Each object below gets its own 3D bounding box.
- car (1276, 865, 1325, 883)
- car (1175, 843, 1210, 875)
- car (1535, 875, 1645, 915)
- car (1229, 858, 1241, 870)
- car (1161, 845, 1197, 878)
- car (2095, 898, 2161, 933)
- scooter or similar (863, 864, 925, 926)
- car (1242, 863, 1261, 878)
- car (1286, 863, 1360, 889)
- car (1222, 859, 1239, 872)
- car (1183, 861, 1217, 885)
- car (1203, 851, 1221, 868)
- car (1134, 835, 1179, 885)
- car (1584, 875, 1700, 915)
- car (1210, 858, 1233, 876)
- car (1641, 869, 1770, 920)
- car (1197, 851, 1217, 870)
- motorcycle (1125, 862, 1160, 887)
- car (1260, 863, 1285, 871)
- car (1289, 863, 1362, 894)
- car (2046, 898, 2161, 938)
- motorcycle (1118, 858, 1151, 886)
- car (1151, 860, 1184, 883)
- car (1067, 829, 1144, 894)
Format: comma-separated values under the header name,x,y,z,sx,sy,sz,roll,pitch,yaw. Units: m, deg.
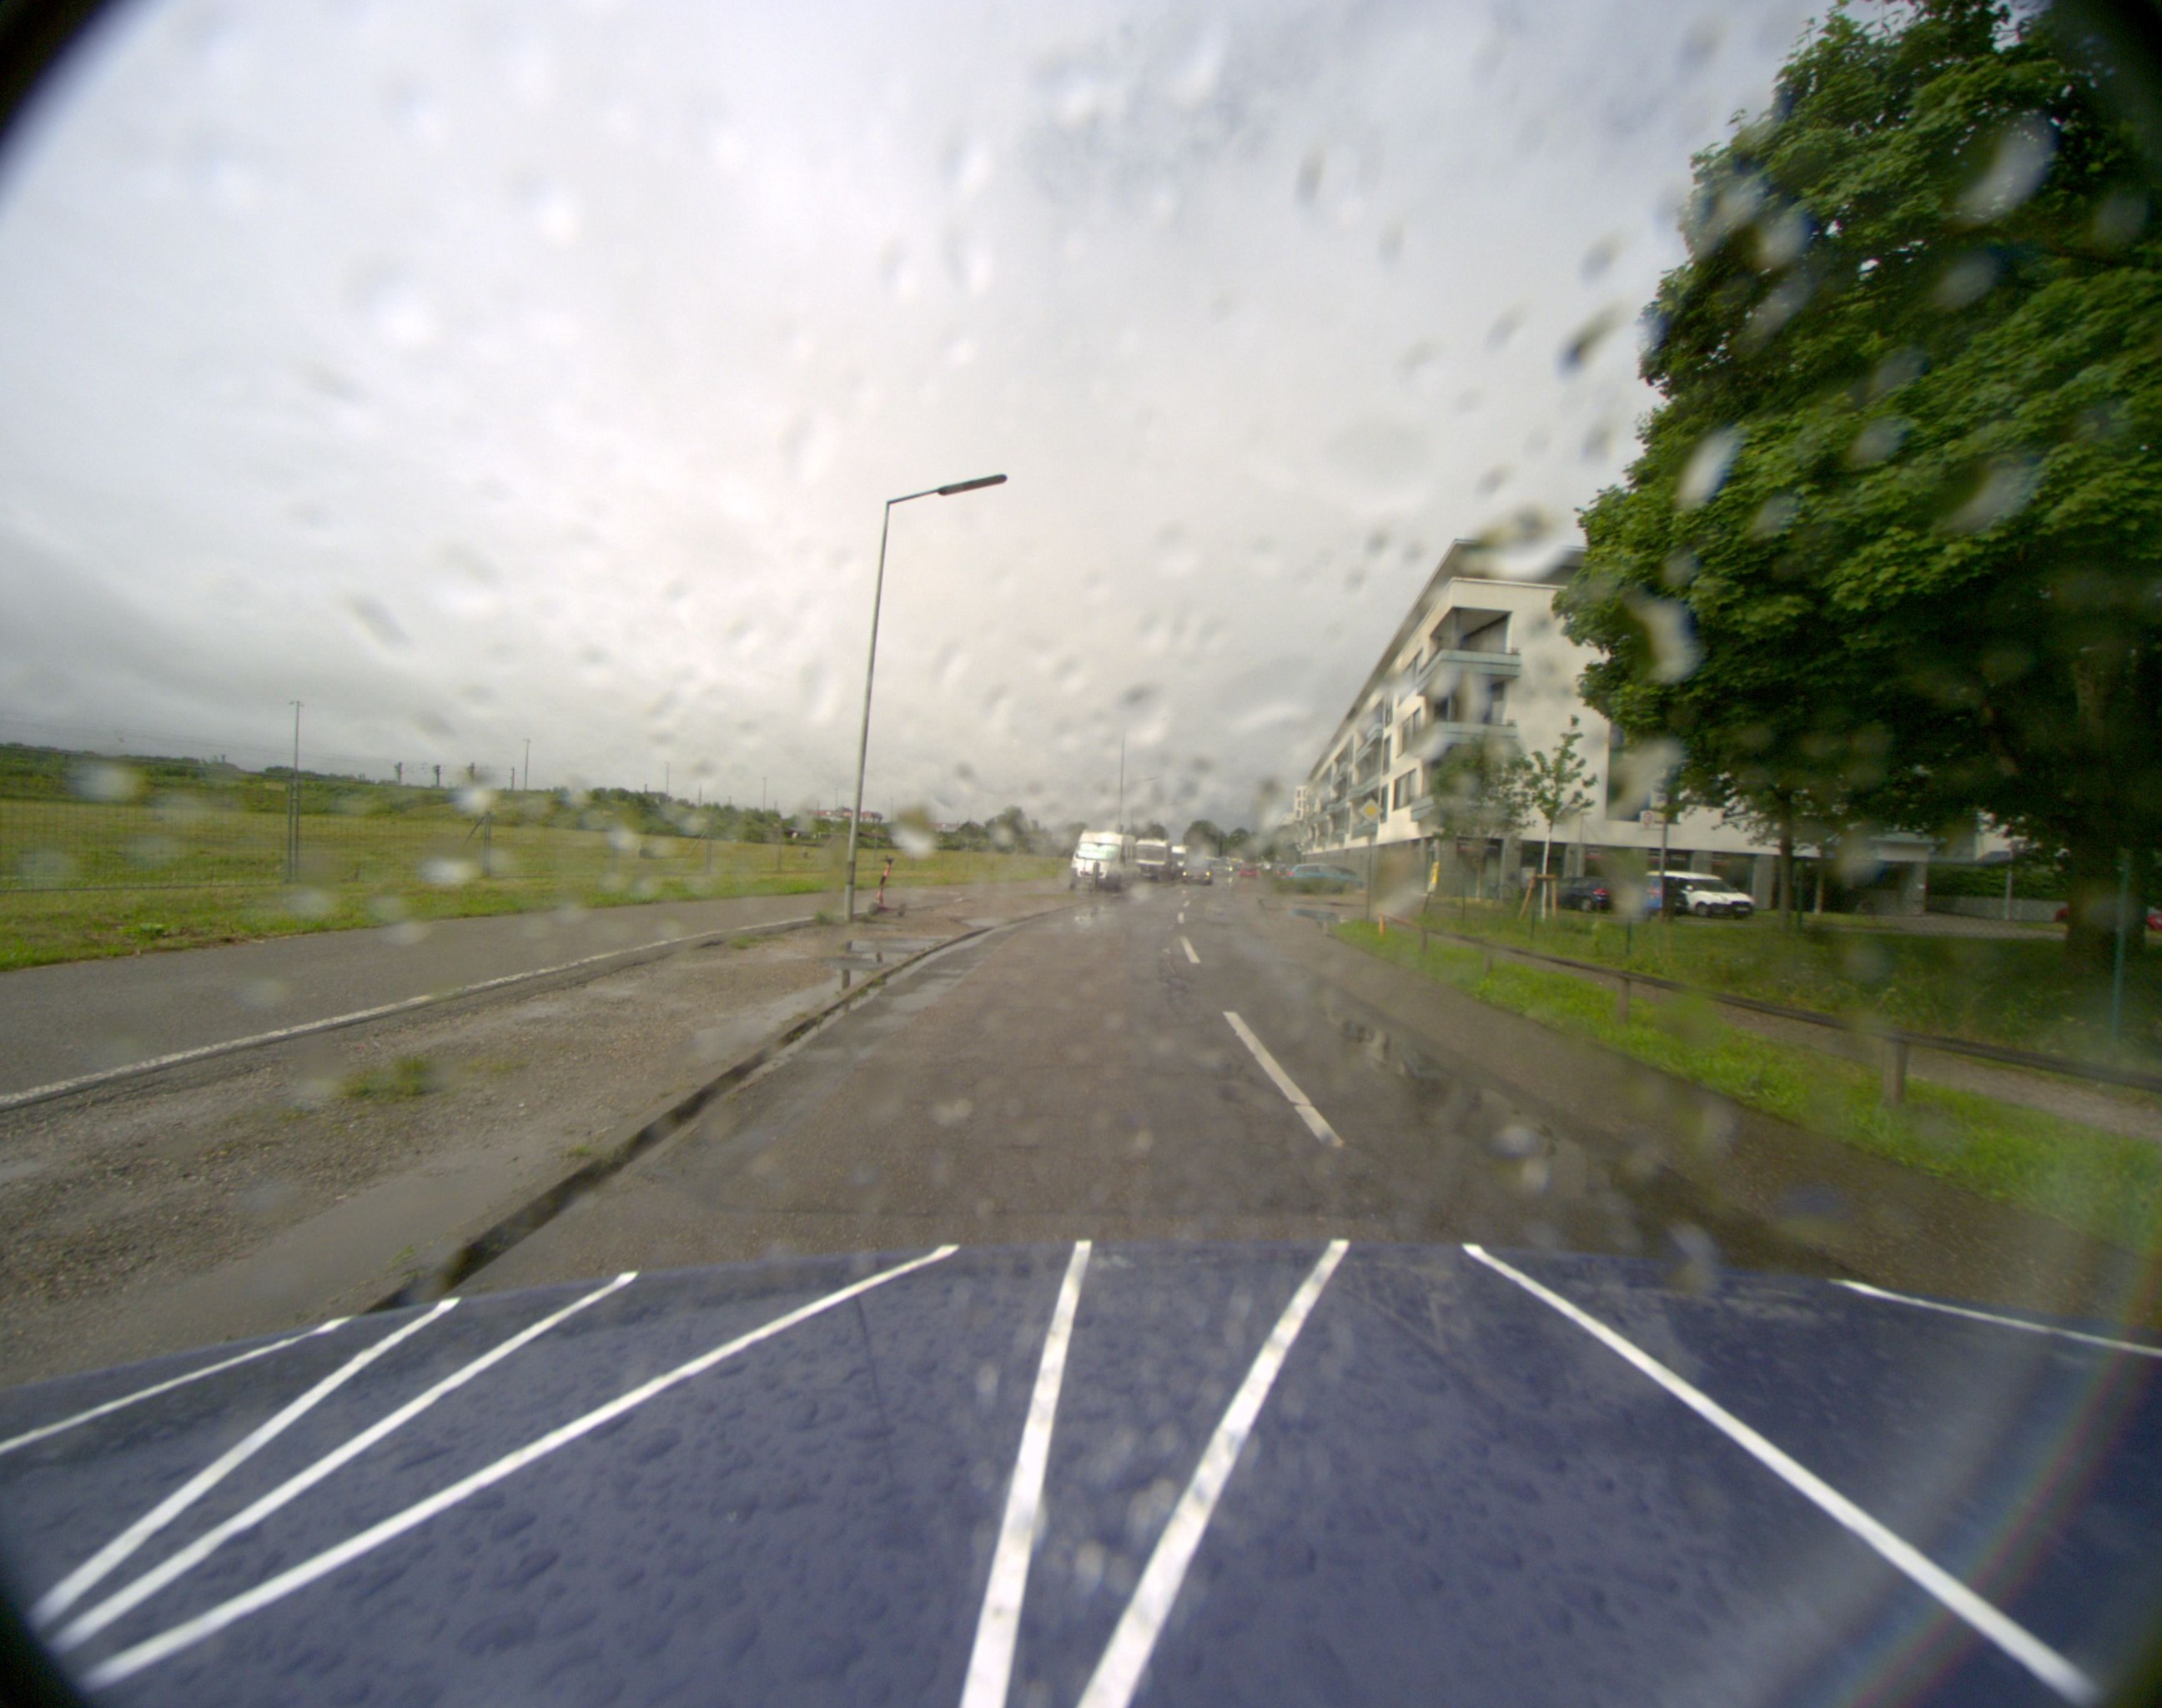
name,x,y,z,sx,sy,sz,roll,pitch,yaw
car,17.743,1.601,61.544,3.736,1.365,1.646,1,0,13
car,11.270,0.523,76.193,2.473,2.939,6.895,4,1,15
car,21.588,1.682,32.454,1.643,1.388,4.185,1,1,-5
car,27.173,1.760,133.816,1.997,2.002,4.003,0,0,10
car,8.515,0.685,65.382,2.071,2.514,6.666,5,0,14
car,49.034,2.820,33.956,1.643,1.388,4.182,1,1,-5
scooter or similar,-3.822,0.815,15.600,0.491,1.208,1.342,3,1,21
car,17.236,1.658,76.763,1.659,1.460,3.394,3,0,16
car,14.930,1.346,47.016,4.179,1.540,1.861,0,0,12
car,18.600,1.367,94.535,1.840,1.510,4.361,3,0,11
car,7.849,1.249,49.696,1.872,1.510,4.363,0,-1,13
car,18.433,0.792,106.794,1.996,2.228,4.568,3,0,13
car,4.956,0.363,49.340,2.147,2.867,5.281,6,1,11
car,23.993,1.723,32.698,1.688,1.388,4.126,1,1,-5
car,14.054,1.264,75.660,2.008,1.695,4.333,3,0,12
car,26.620,1.673,32.591,1.643,1.825,4.347,1,1,-5
car,15.511,0.772,93.632,1.996,2.228,4.568,3,0,13
motorcycle,3.364,1.103,41.722,1.676,1.188,0.648,6,2,-9
car,31.003,2.104,122.996,3.794,1.362,1.746,0,0,12
car,13.558,1.352,42.330,3.815,1.624,1.757,0,0,15
car,46.257,2.824,33.581,1.643,1.388,4.182,1,1,-5
motorcycle,2.842,0.962,40.518,1.647,1.367,0.721,3,1,-2
car,6.524,1.279,56.830,1.732,1.485,4.447,5,1,15
car,1.212,0.288,33.050,2.094,2.458,5.953,4,1,13
